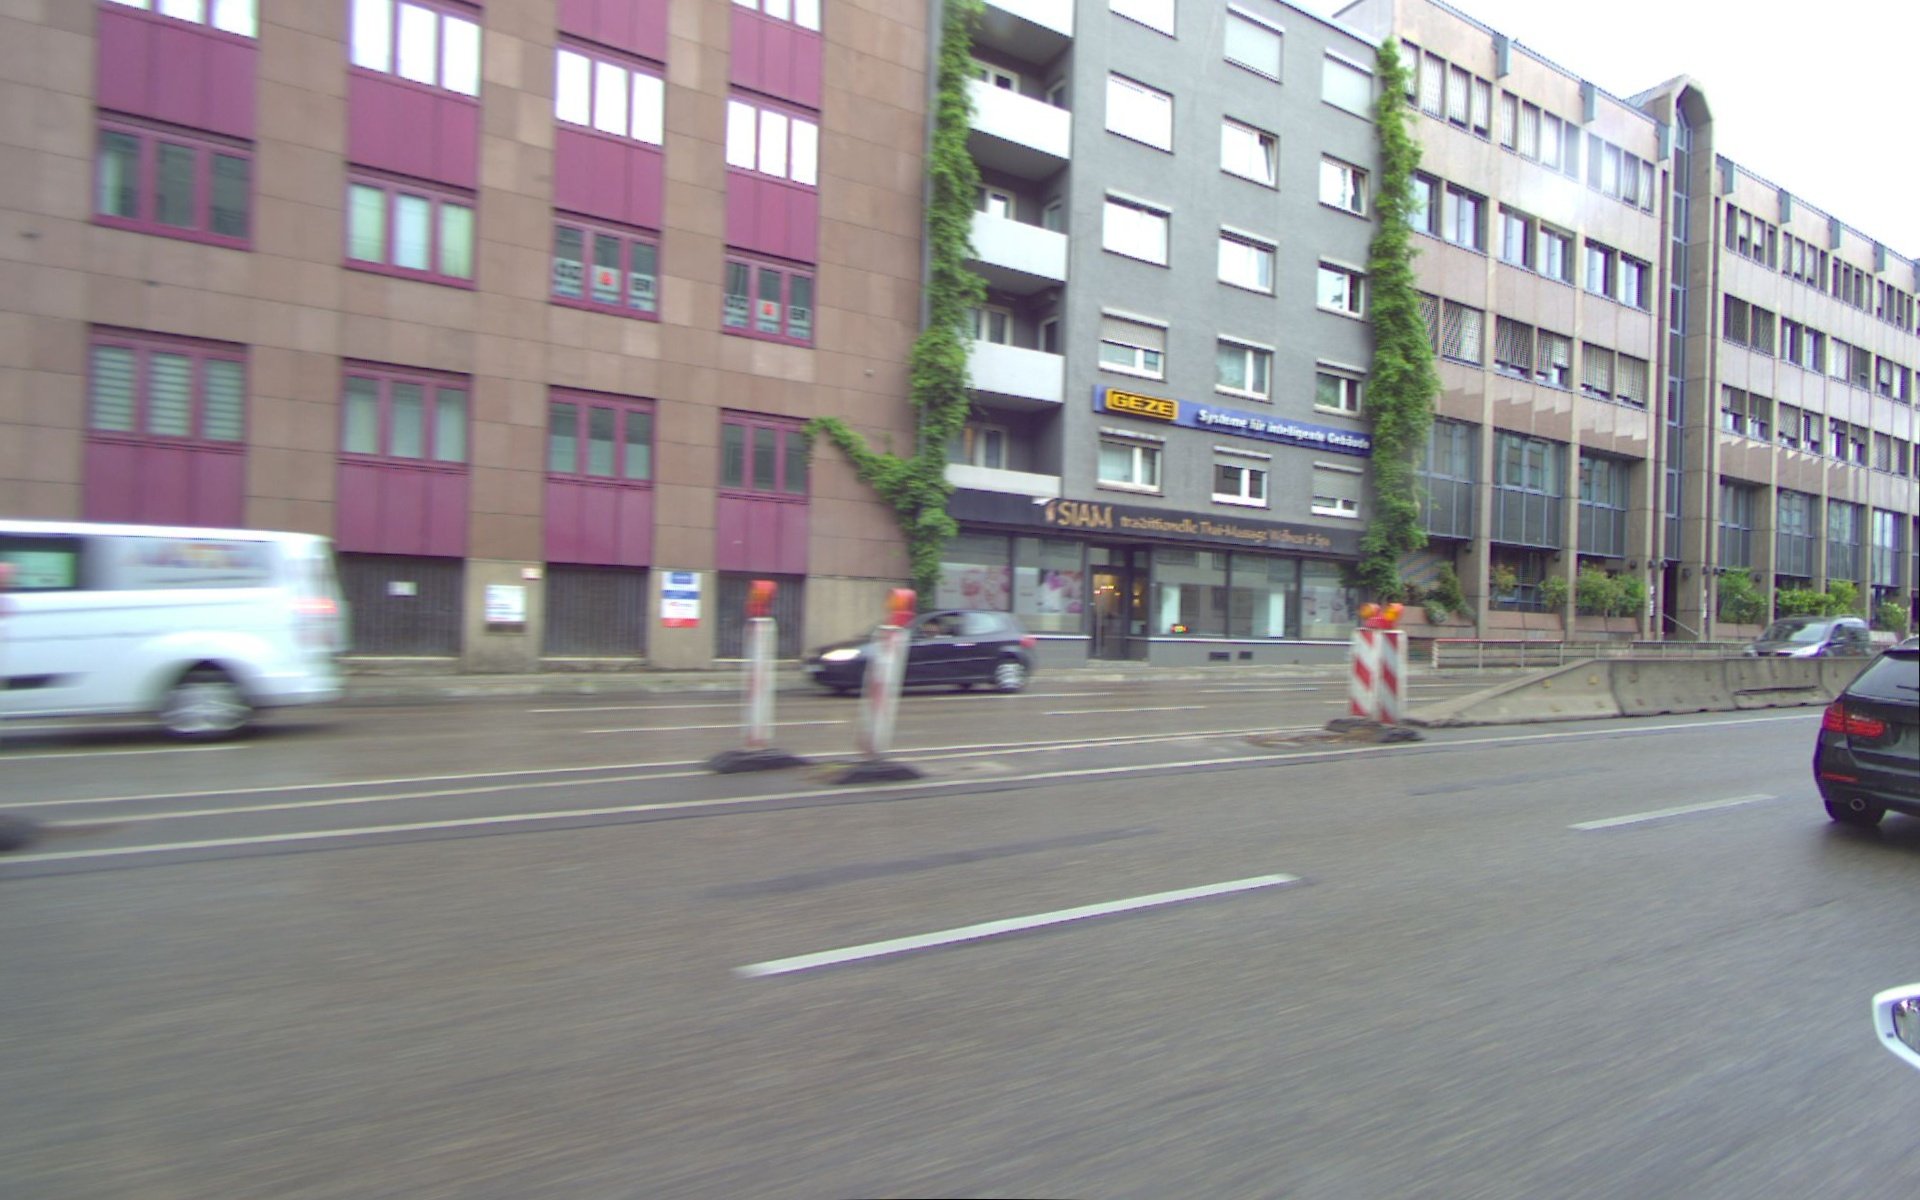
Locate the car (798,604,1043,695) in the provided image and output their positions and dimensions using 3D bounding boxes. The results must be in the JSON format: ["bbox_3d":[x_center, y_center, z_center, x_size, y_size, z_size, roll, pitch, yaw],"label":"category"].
[{"bbox_3d":[-0.644,0.846,17.571,3.976,1.418,1.690,2,-1,-32],"label":"car"}]

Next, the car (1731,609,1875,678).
[{"bbox_3d":[23.530,1.220,28.004,4.373,1.793,1.713,2,-1,-30],"label":"car"}]

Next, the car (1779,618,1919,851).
[{"bbox_3d":[8.066,0.906,7.341,4.560,1.445,1.782,1,0,-31],"label":"car"}]

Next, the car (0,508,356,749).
[{"bbox_3d":[-8.653,0.241,9.229,5.228,2.016,1.984,2,-1,-31],"label":"car"}]
